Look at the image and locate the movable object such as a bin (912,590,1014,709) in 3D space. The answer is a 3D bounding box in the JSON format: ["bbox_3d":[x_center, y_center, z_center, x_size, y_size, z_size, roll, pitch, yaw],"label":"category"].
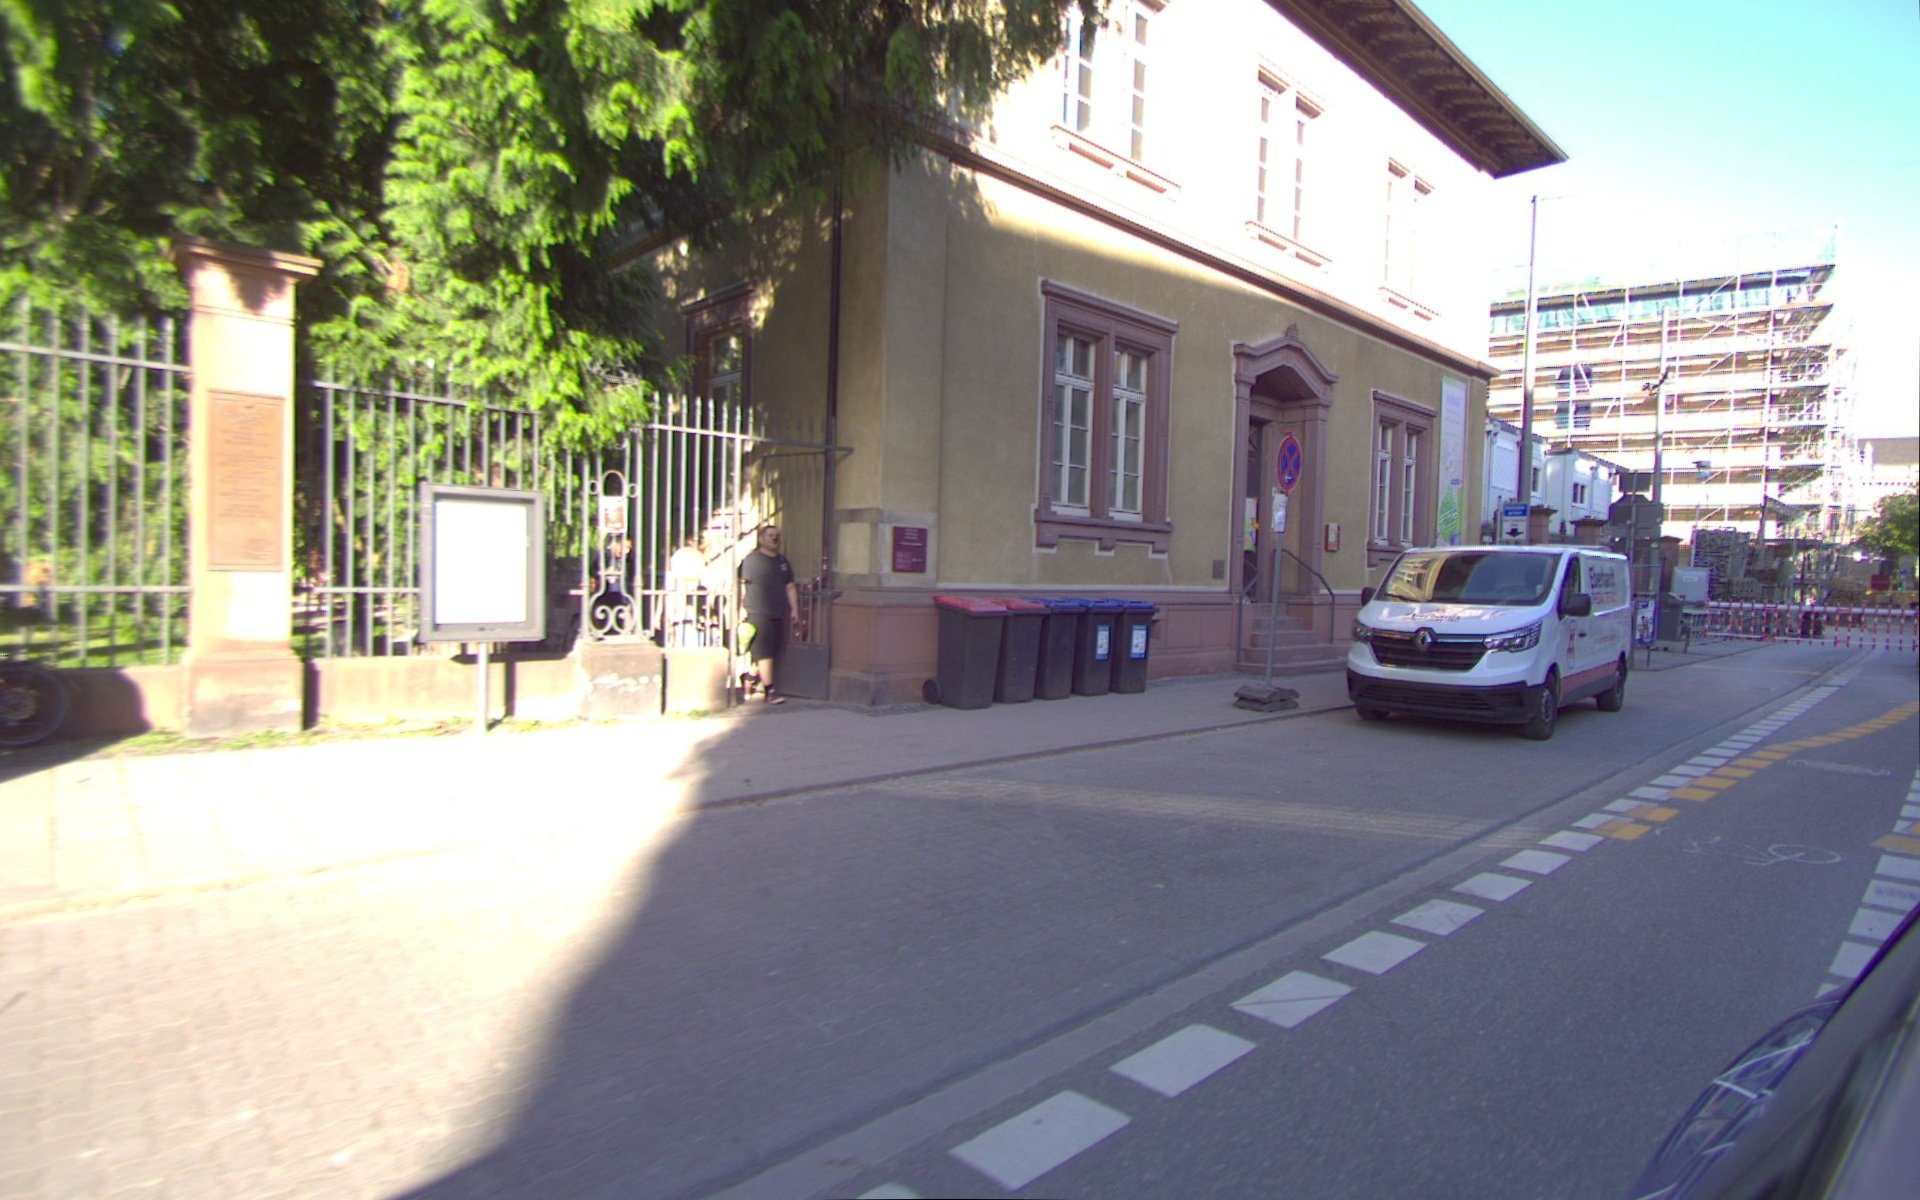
[{"bbox_3d":[0.022,0.466,10.150,0.561,1.086,0.870,0,3,-40],"label":"movable object such as a bin"}]

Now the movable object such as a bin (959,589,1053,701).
[{"bbox_3d":[0.482,0.450,10.693,0.561,1.086,0.795,0,3,-40],"label":"movable object such as a bin"}]

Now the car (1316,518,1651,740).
[{"bbox_3d":[6.222,0.192,11.629,2.014,1.969,5.396,2,2,43],"label":"car"}]

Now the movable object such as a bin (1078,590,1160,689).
[{"bbox_3d":[1.868,0.446,11.938,0.552,1.086,0.732,0,3,-40],"label":"movable object such as a bin"}]

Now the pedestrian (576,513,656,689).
[{"bbox_3d":[-3.540,0.000,10.424,0.580,1.751,0.507,1,2,-44],"label":"pedestrian"}]

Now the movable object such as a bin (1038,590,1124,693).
[{"bbox_3d":[1.377,0.448,11.570,0.525,1.086,0.795,0,3,-40],"label":"movable object such as a bin"}]

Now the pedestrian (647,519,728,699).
[{"bbox_3d":[-2.756,0.070,10.222,0.580,1.751,0.507,0,2,-44],"label":"pedestrian"}]

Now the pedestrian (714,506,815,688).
[{"bbox_3d":[-1.953,-0.033,10.121,0.639,1.739,0.690,3,0,45],"label":"pedestrian"}]

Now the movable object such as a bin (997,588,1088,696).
[{"bbox_3d":[0.905,0.440,11.139,0.561,1.086,0.795,0,3,-40],"label":"movable object such as a bin"}]

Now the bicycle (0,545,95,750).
[{"bbox_3d":[-6.075,0.270,5.709,1.793,1.170,0.419,0,4,-39],"label":"bicycle"}]
